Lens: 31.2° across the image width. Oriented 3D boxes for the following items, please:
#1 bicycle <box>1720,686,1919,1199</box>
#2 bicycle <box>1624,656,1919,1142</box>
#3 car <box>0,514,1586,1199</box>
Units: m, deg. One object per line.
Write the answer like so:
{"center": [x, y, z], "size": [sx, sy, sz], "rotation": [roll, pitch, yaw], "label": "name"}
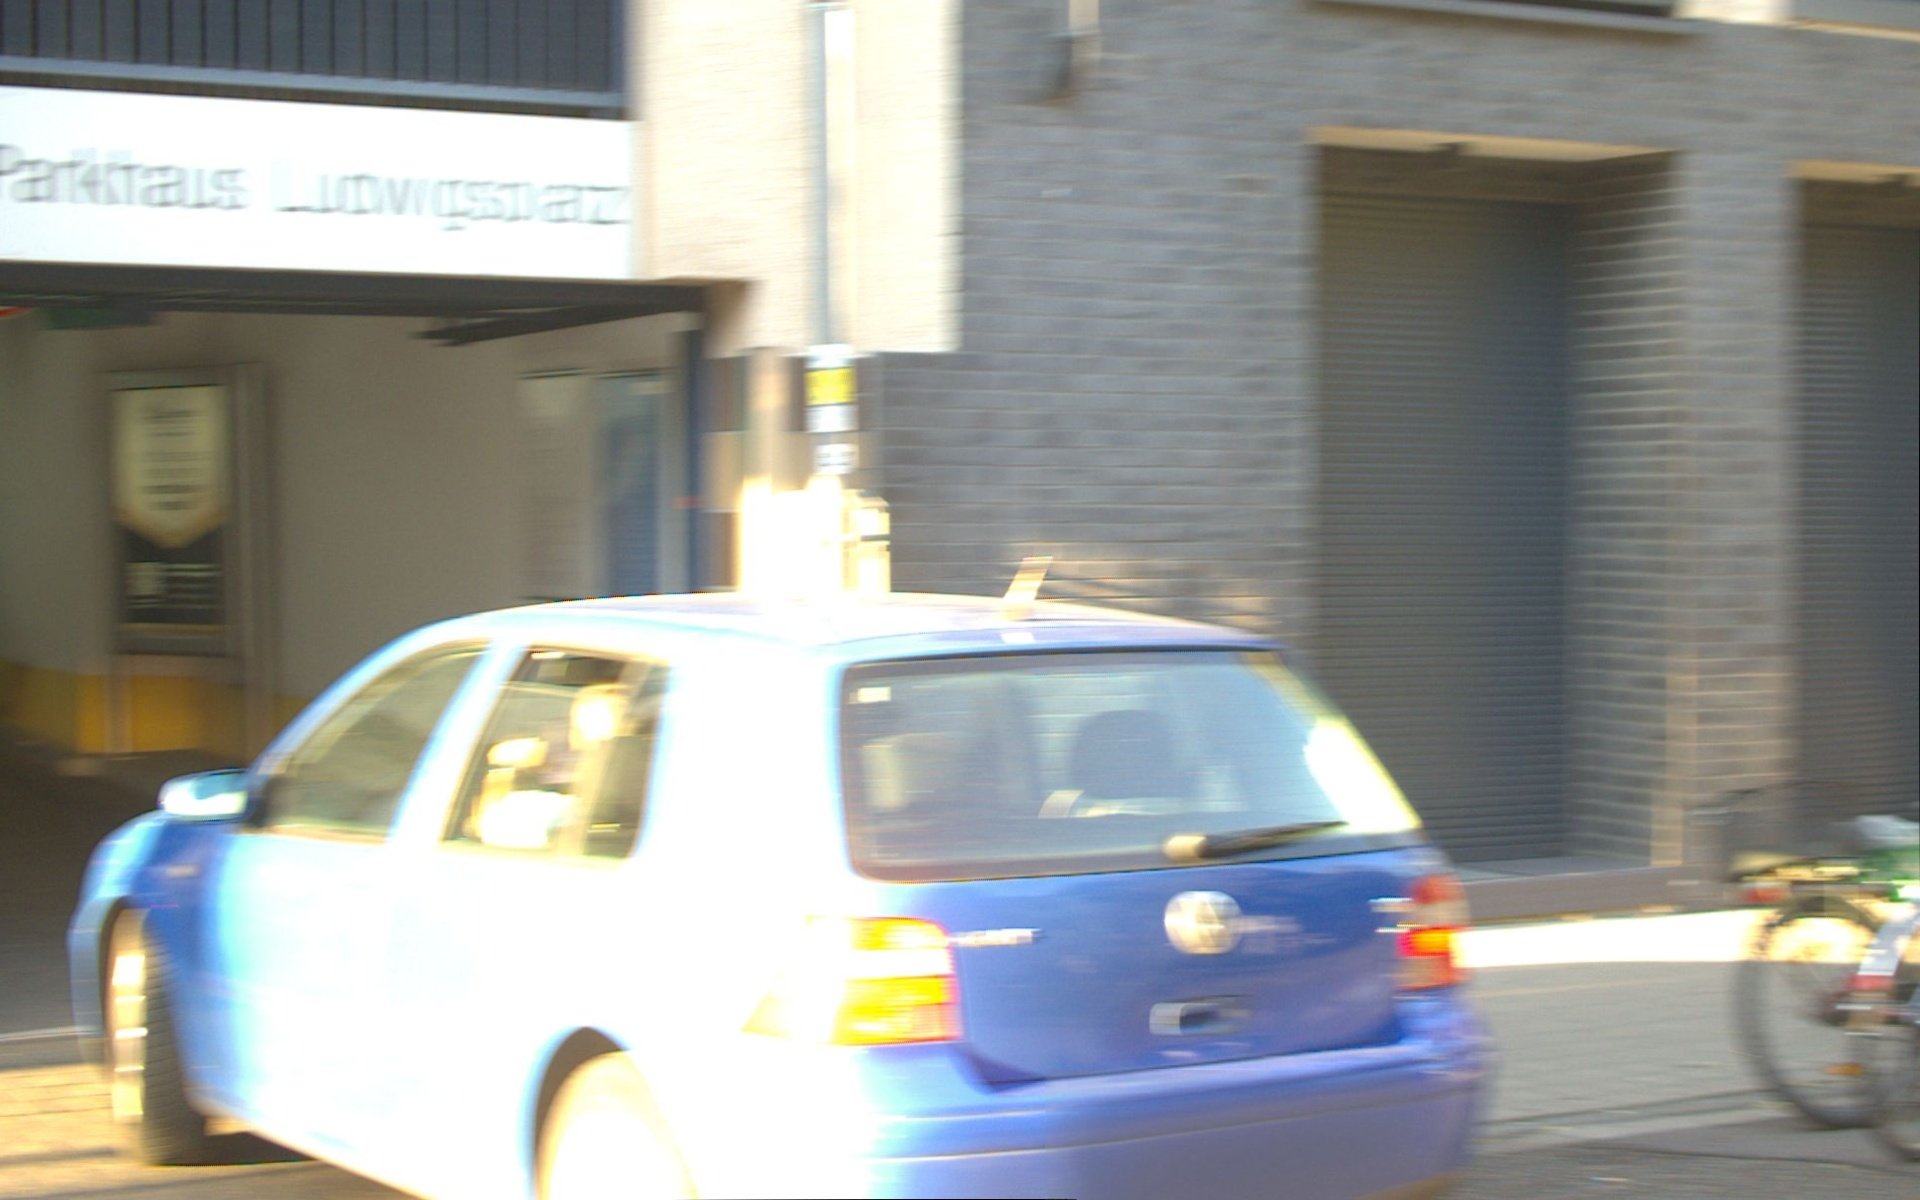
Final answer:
{"center": [2.615, 0.812, 8.532], "size": [1.547, 1.185, 0.387], "rotation": [0, 2, -30], "label": "bicycle"}
{"center": [2.428, 0.750, 9.057], "size": [1.401, 1.179, 0.388], "rotation": [0, 2, -30], "label": "bicycle"}
{"center": [-0.715, 0.623, 7.582], "size": [1.688, 1.558, 4.118], "rotation": [0, 1, -35], "label": "car"}
